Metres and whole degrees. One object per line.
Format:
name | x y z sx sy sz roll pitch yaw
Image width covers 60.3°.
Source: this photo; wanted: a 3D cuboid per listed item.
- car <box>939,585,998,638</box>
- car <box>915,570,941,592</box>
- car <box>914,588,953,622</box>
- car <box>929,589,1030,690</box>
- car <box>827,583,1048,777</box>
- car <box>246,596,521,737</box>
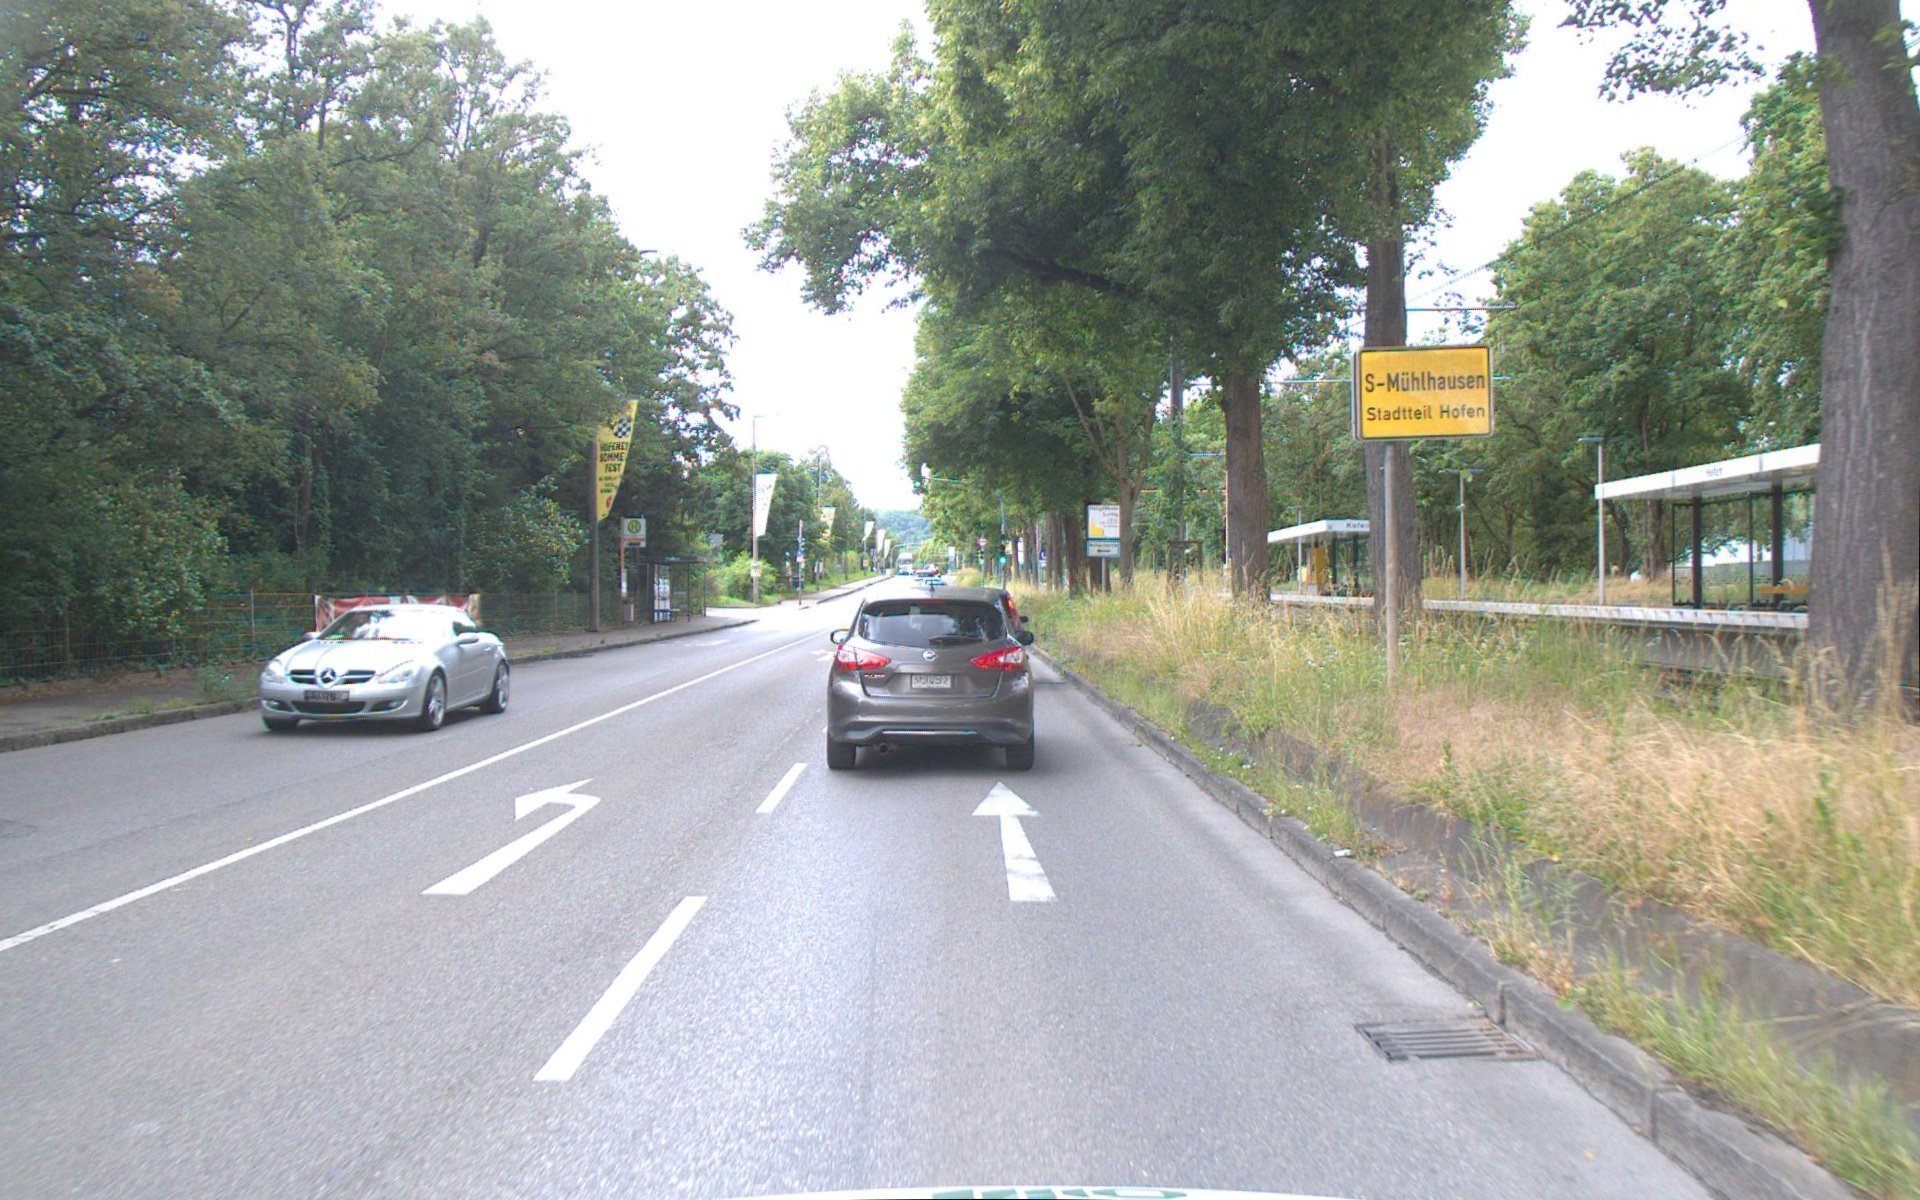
car | 0.226 0.311 48.450 1.657 1.466 3.541 0 1 -1
car | -2.464 -1.438 128.958 1.953 1.601 3.999 2 0 -1
car | -1.178 0.211 73.531 1.657 1.466 3.541 0 1 -1
car | 0.258 0.563 26.005 1.471 1.466 3.541 0 1 -1
car | -0.187 0.625 14.979 1.747 1.533 3.696 0 0 0
car | -6.133 0.643 18.047 1.722 1.360 3.696 0 0 0
